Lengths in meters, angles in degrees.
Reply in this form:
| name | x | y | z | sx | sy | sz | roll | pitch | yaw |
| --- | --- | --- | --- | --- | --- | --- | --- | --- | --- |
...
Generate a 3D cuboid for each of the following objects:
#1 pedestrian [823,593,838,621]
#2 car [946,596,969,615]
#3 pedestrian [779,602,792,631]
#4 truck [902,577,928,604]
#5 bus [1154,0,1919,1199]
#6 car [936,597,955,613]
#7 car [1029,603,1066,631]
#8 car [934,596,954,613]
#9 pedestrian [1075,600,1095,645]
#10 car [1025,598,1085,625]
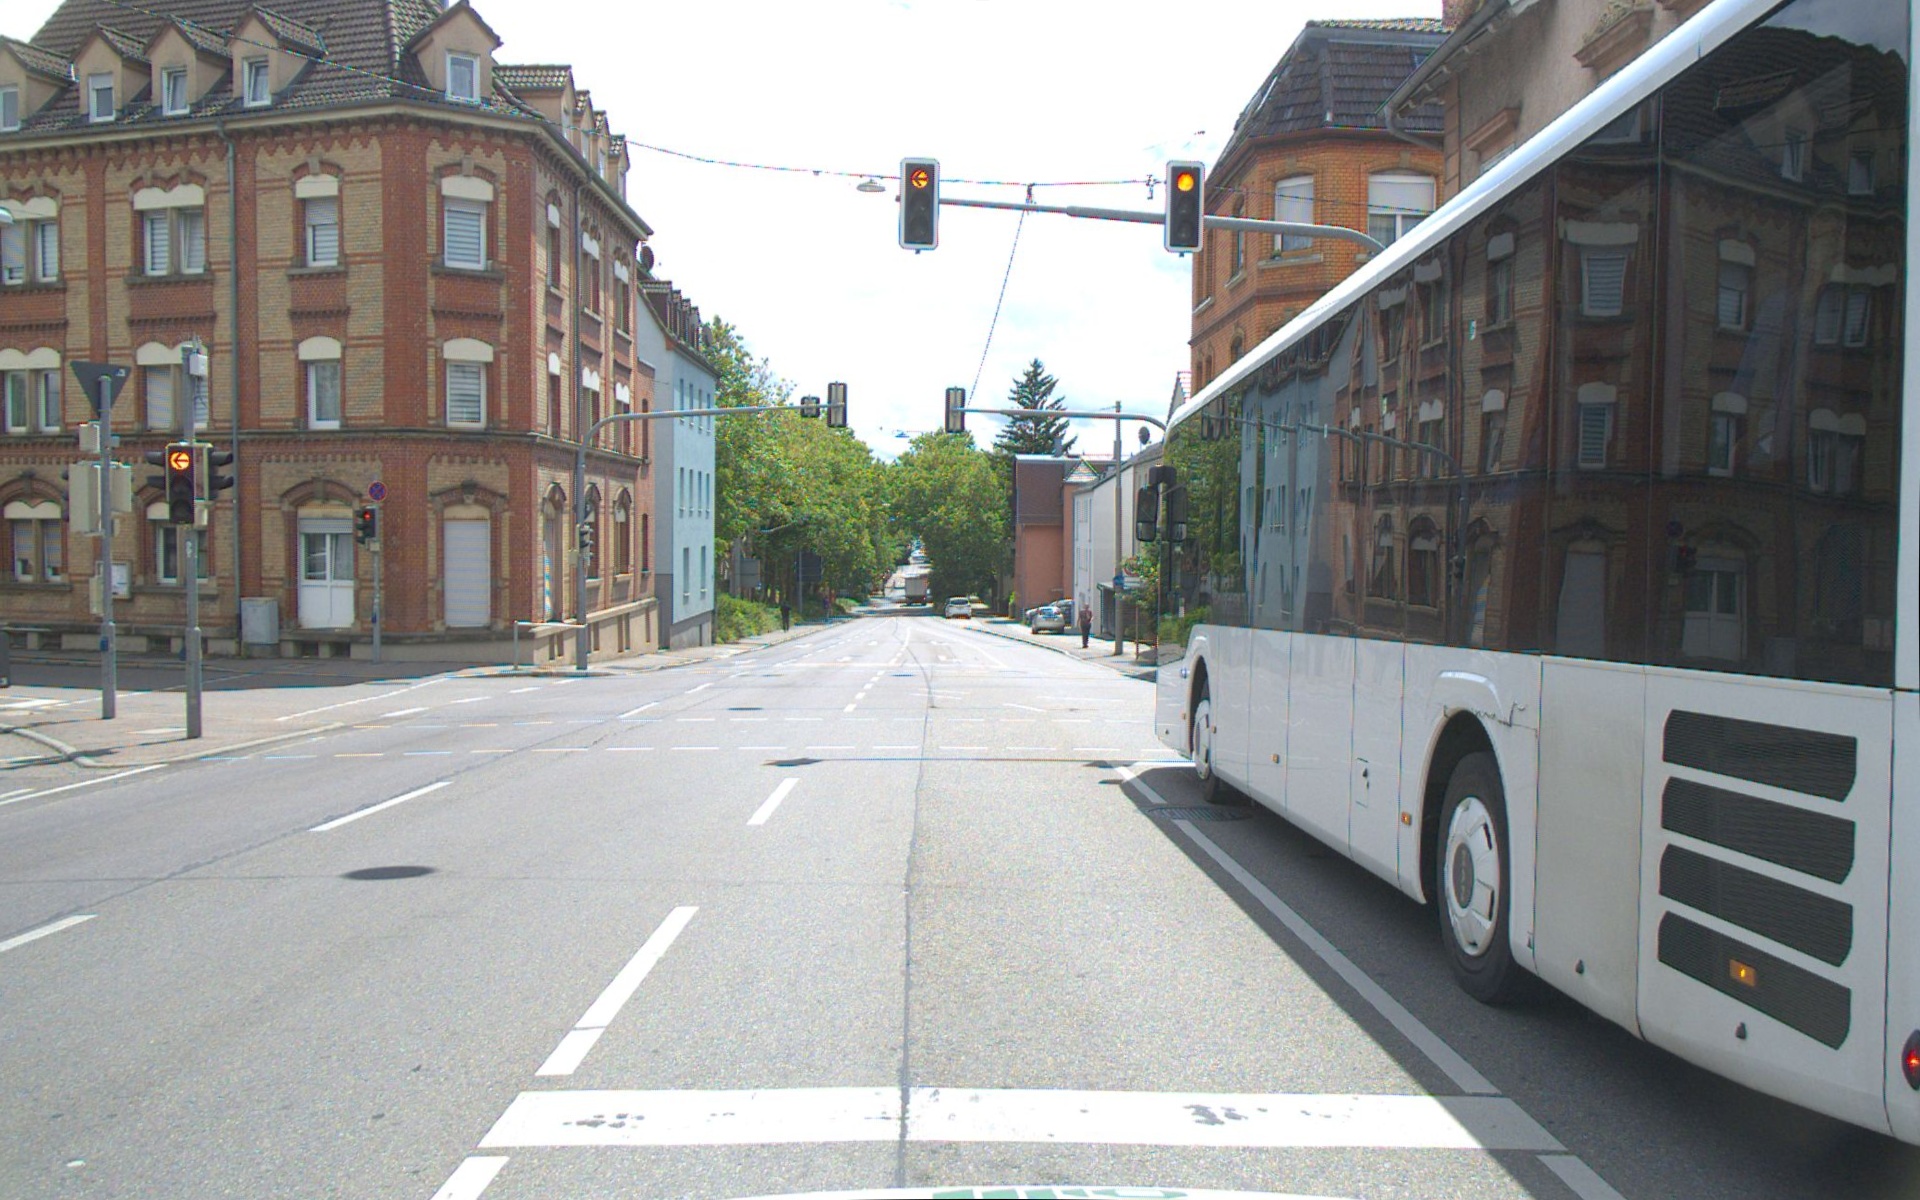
| name | x | y | z | sx | sy | sz | roll | pitch | yaw |
| --- | --- | --- | --- | --- | --- | --- | --- | --- | --- |
| pedestrian | -9.449 | 0.498 | 120.623 | 0.974 | 2.049 | 1.188 | 0 | 0 | -1 |
| car | -0.194 | 0.442 | 129.440 | 1.758 | 1.434 | 3.999 | 1 | 0 | -1 |
| pedestrian | -9.532 | 0.904 | 90.373 | 0.714 | 1.592 | 0.560 | 0 | 0 | -2 |
| truck | -5.395 | -1.144 | 197.069 | 2.868 | 3.135 | 7.881 | -1 | 0 | -3 |
| bus | 3.197 | -0.133 | 9.264 | 2.618 | 3.211 | 12.459 | 0 | 0 | -1 |
| car | -1.333 | 0.498 | 153.896 | 1.757 | 1.434 | 4.418 | 1 | 0 | 0 |
| car | 4.915 | 0.937 | 93.122 | 1.758 | 1.434 | 3.999 | -1 | 1 | -2 |
| car | -1.402 | 0.388 | 145.789 | 1.757 | 1.434 | 4.418 | 1 | 0 | 0 |
| pedestrian | 4.992 | 0.879 | 66.037 | 0.723 | 1.781 | 0.619 | -1 | 0 | -1 |
| car | 6.489 | 0.768 | 113.248 | 3.909 | 1.788 | 1.998 | -1 | 0 | -6 |
